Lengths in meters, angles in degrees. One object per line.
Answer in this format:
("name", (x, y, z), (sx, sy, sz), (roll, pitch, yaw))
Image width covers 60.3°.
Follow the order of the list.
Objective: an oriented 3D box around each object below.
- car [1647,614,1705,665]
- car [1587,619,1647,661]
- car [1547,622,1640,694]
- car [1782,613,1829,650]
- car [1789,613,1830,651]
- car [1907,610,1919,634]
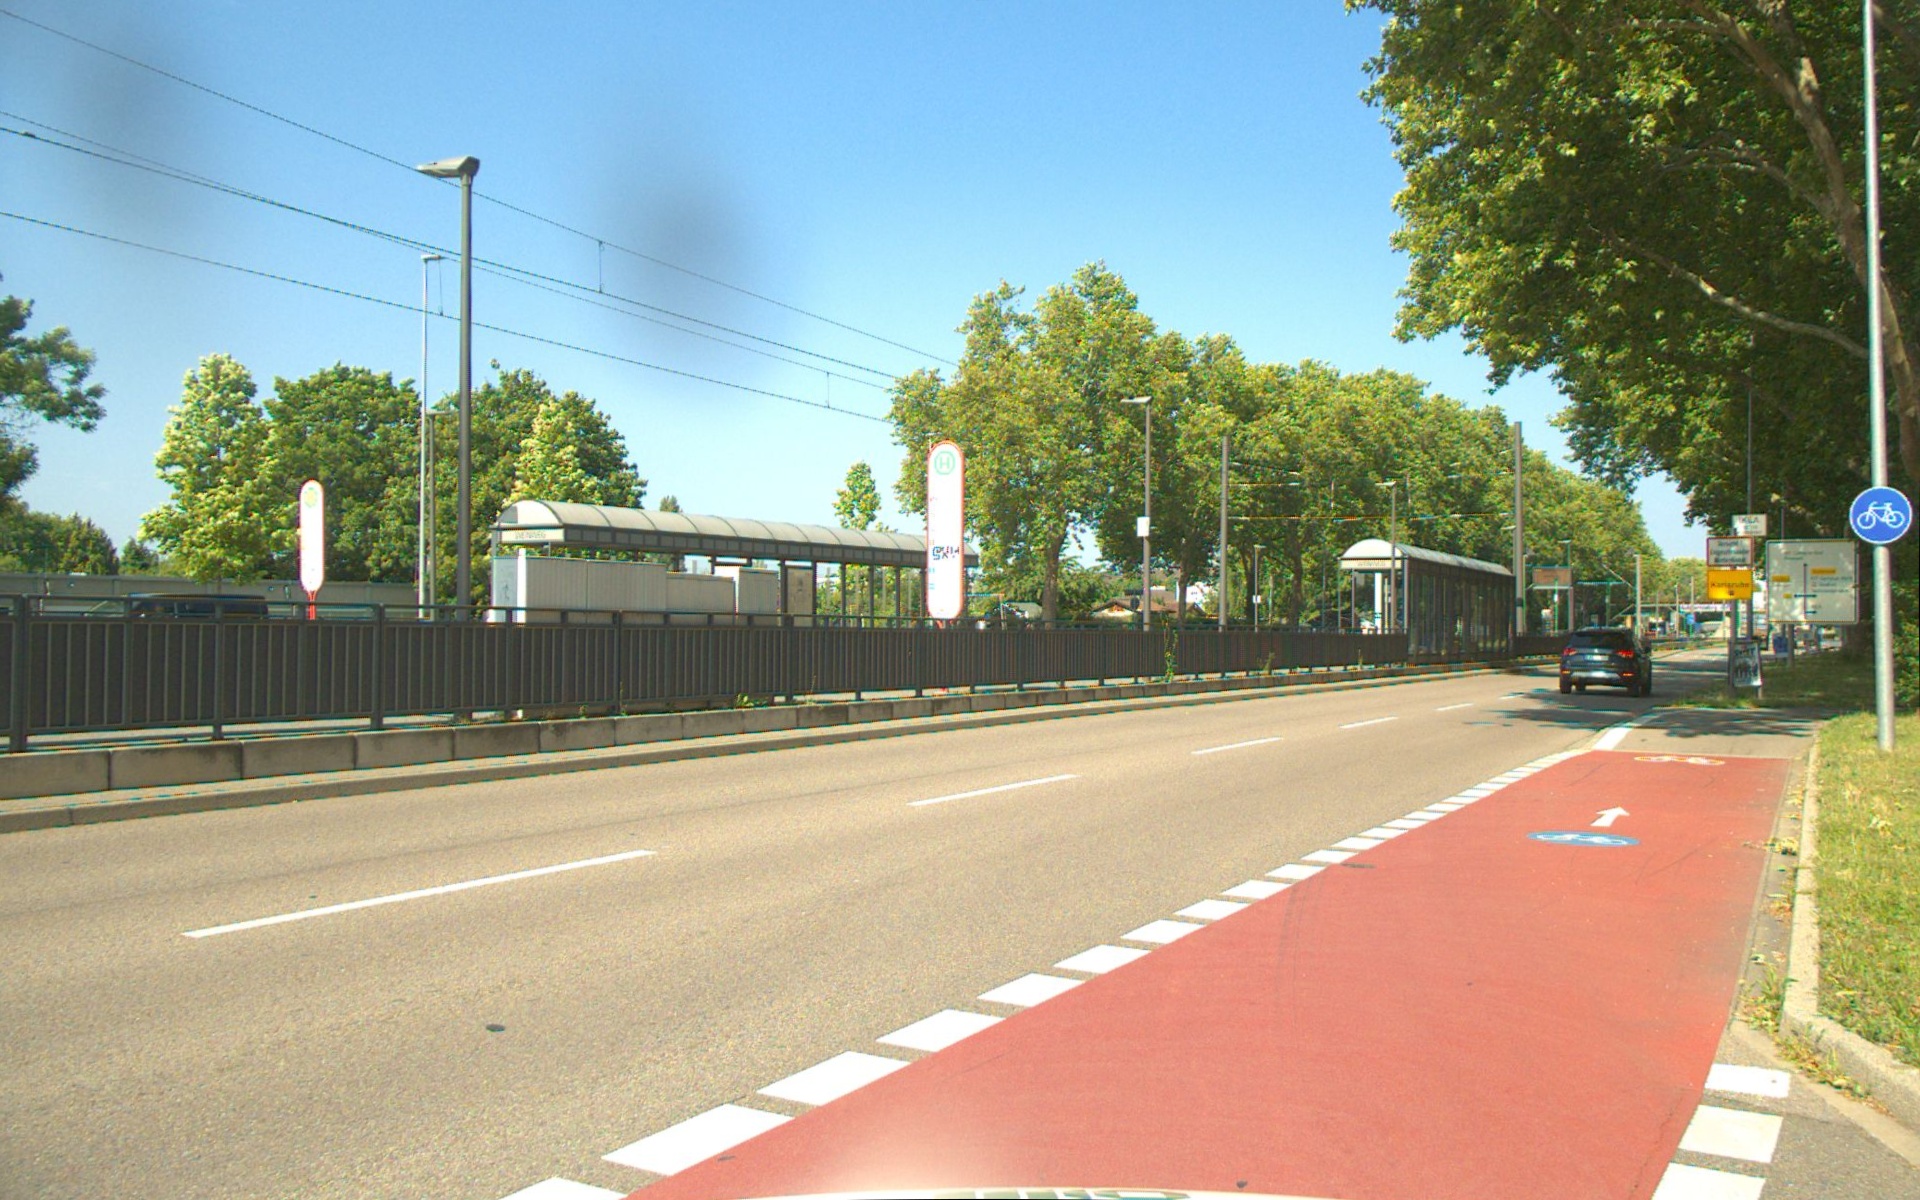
("car", (29.582, 1.611, 68.271), (1.955, 2.049, 3.995), (-1, -1, 27))
("car", (28.186, 1.689, 70.888), (1.890, 1.743, 4.154), (-1, -1, 28))
("car", (14.753, 1.340, 38.447), (1.638, 1.550, 3.372), (1, -2, 27))
("car", (47.510, 1.764, 92.875), (1.930, 2.049, 3.988), (-1, -2, 33))
("car", (47.121, 1.791, 91.766), (1.955, 2.049, 3.995), (-1, -1, 27))
("car", (83.020, 1.918, 142.815), (1.958, 2.049, 3.988), (-1, -2, 33))
